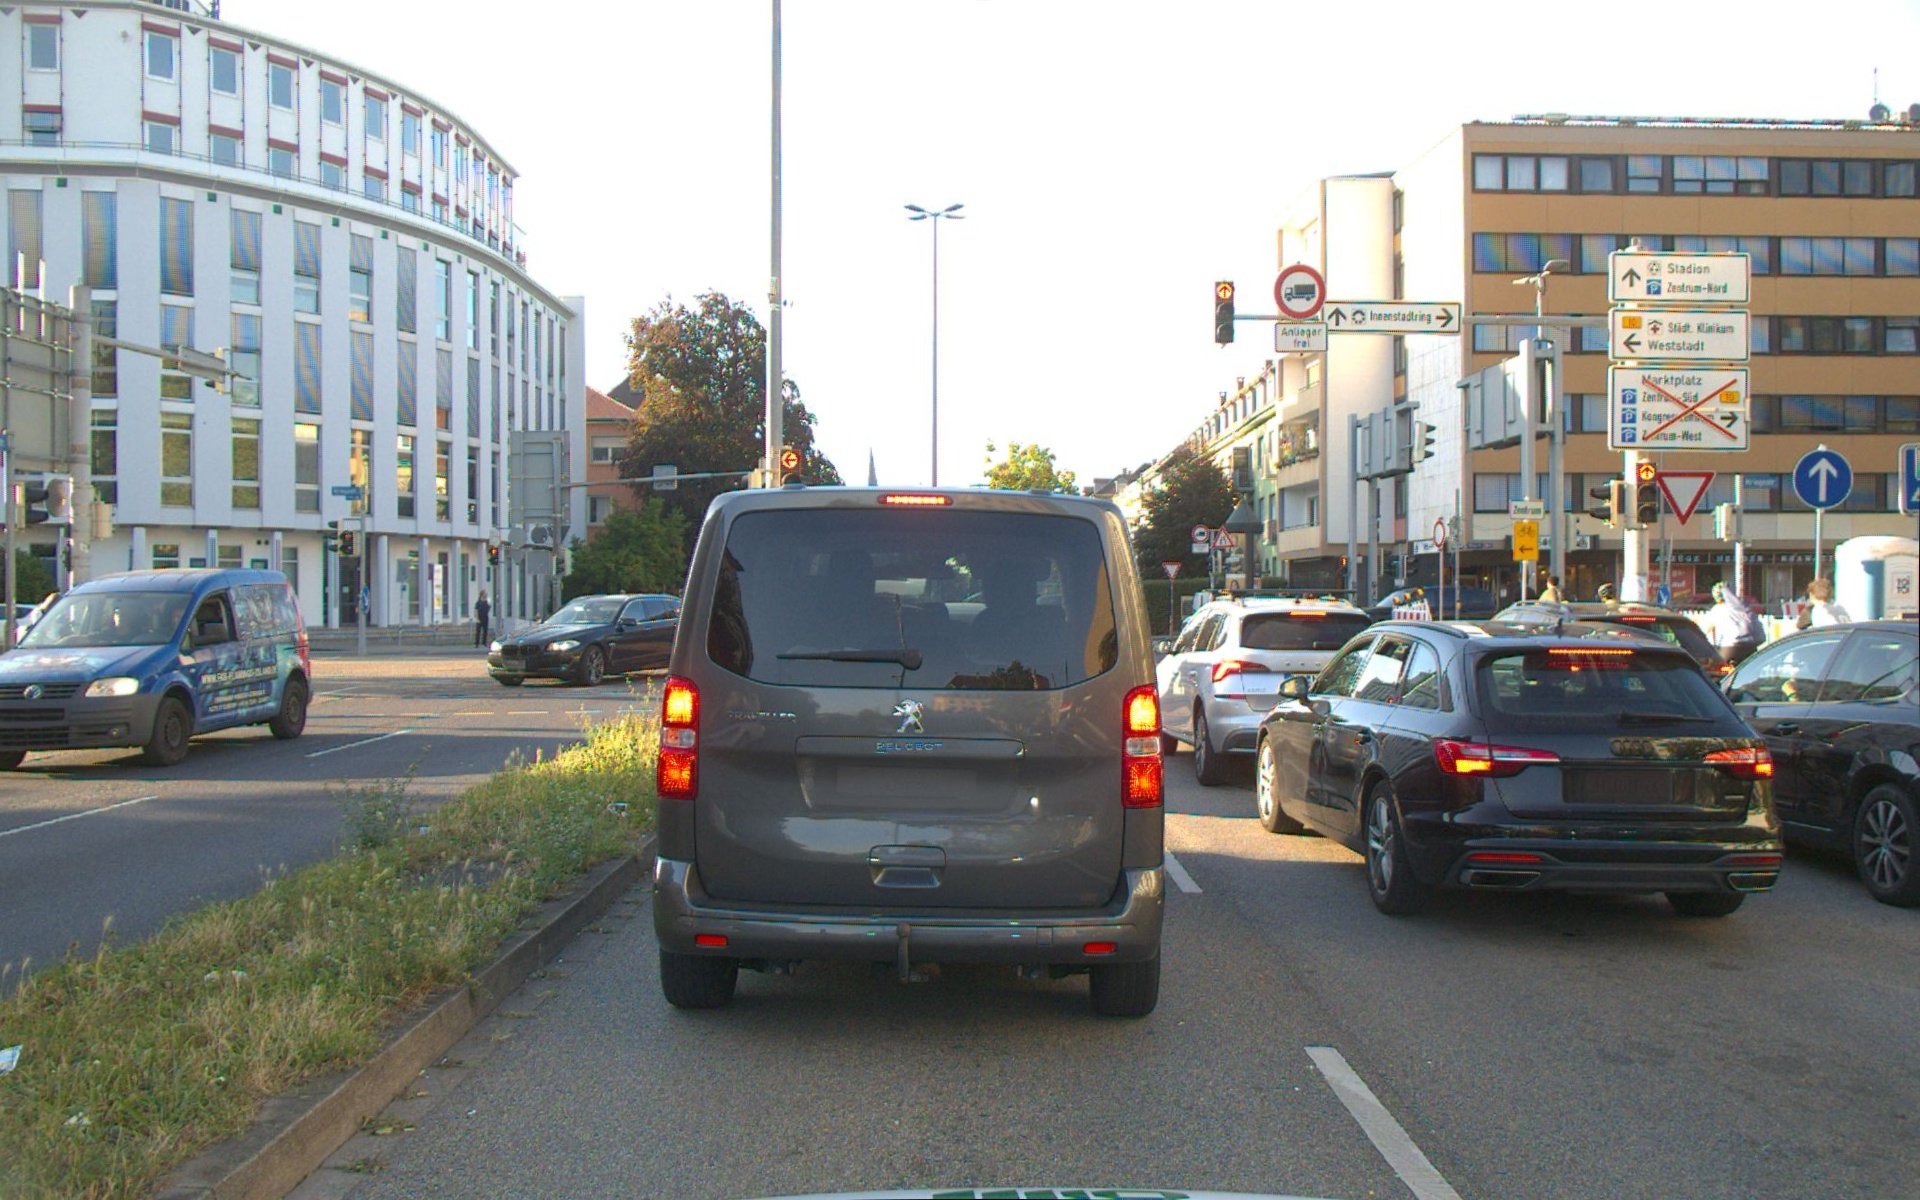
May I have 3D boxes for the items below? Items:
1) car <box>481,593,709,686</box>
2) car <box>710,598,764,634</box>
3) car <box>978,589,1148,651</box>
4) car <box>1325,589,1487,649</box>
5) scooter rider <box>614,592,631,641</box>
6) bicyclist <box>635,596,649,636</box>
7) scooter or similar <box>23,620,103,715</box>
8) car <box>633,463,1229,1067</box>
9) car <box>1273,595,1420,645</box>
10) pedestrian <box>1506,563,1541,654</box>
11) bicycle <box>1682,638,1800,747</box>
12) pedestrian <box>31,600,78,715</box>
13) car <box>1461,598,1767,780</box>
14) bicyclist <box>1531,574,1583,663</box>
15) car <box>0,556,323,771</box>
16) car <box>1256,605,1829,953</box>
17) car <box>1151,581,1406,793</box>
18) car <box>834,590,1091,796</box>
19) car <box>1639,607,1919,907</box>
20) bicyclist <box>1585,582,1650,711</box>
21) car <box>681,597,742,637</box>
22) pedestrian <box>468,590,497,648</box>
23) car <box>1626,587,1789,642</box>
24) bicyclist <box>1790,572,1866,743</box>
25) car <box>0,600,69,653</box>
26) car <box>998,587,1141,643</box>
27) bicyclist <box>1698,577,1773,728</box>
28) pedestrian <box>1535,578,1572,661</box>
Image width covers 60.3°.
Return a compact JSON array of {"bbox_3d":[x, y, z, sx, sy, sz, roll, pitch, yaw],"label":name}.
[{"bbox_3d":[-6.242,0.630,28.776,1.663,1.467,4.239,0,0,25],"label":"car"},{"bbox_3d":[-9.117,0.635,67.944,1.819,1.445,3.998,0,0,-2],"label":"car"},{"bbox_3d":[2.547,0.468,40.650,3.944,1.443,1.665,0,0,-30],"label":"car"},{"bbox_3d":[11.869,0.481,44.000,3.927,1.543,1.672,0,0,-20],"label":"car"},{"bbox_3d":[-11.850,0.580,58.127,0.471,1.727,0.636,0,0,-1],"label":"scooter rider"},{"bbox_3d":[-12.417,0.614,64.631,0.453,1.548,0.469,0,0,-1],"label":"bicyclist"},{"bbox_3d":[-12.135,0.910,22.380,0.877,1.255,0.370,0,0,-12],"label":"scooter or similar"},{"bbox_3d":[-0.121,0.523,7.546,1.868,1.896,4.525,1,0,-1],"label":"car"},{"bbox_3d":[11.068,0.560,47.436,3.745,1.378,1.724,0,0,-8],"label":"car"},{"bbox_3d":[11.611,0.167,34.082,0.558,1.866,0.487,0,0,1],"label":"pedestrian"},{"bbox_3d":[8.138,0.934,17.297,0.329,1.025,1.855,0,0,-1],"label":"bicycle"},{"bbox_3d":[-12.244,0.769,22.371,0.466,1.532,0.334,0,0,-13],"label":"pedestrian"},{"bbox_3d":[5.927,0.733,15.364,1.474,1.474,3.304,1,0,-1],"label":"car"},{"bbox_3d":[11.094,0.333,30.738,0.605,1.616,0.814,1,1,-4],"label":"bicyclist"},{"bbox_3d":[-8.073,0.541,16.386,1.953,1.849,4.228,0,0,-1],"label":"car"},{"bbox_3d":[2.894,0.781,9.244,1.647,1.446,4.213,1,0,-1],"label":"car"},{"bbox_3d":[2.726,0.683,14.901,1.498,1.641,3.744,1,0,-1],"label":"car"},{"bbox_3d":[-0.010,0.704,14.606,1.953,1.557,3.999,0,0,-1],"label":"car"},{"bbox_3d":[5.599,0.811,9.729,1.600,1.474,3.744,1,0,-1],"label":"car"},{"bbox_3d":[8.070,0.564,20.314,0.503,1.552,0.725,0,0,-1],"label":"bicyclist"},{"bbox_3d":[-9.310,0.627,62.279,1.819,1.445,3.998,0,0,-2],"label":"car"},{"bbox_3d":[-14.691,0.586,50.929,0.623,1.752,0.660,0,0,-44],"label":"pedestrian"},{"bbox_3d":[20.476,0.375,45.340,3.920,1.443,1.675,0,0,-14],"label":"car"},{"bbox_3d":[7.980,0.521,15.219,0.432,1.552,0.482,0,0,-1],"label":"bicyclist"},{"bbox_3d":[-26.344,0.716,44.580,3.709,1.396,1.648,0,0,-7],"label":"car"},{"bbox_3d":[3.261,0.437,49.575,4.039,1.622,1.793,0,0,-6],"label":"car"},{"bbox_3d":[8.142,0.542,17.380,0.432,1.552,0.725,0,0,-1],"label":"bicyclist"},{"bbox_3d":[12.259,0.390,34.183,0.589,1.700,0.454,0,0,1],"label":"pedestrian"}]
